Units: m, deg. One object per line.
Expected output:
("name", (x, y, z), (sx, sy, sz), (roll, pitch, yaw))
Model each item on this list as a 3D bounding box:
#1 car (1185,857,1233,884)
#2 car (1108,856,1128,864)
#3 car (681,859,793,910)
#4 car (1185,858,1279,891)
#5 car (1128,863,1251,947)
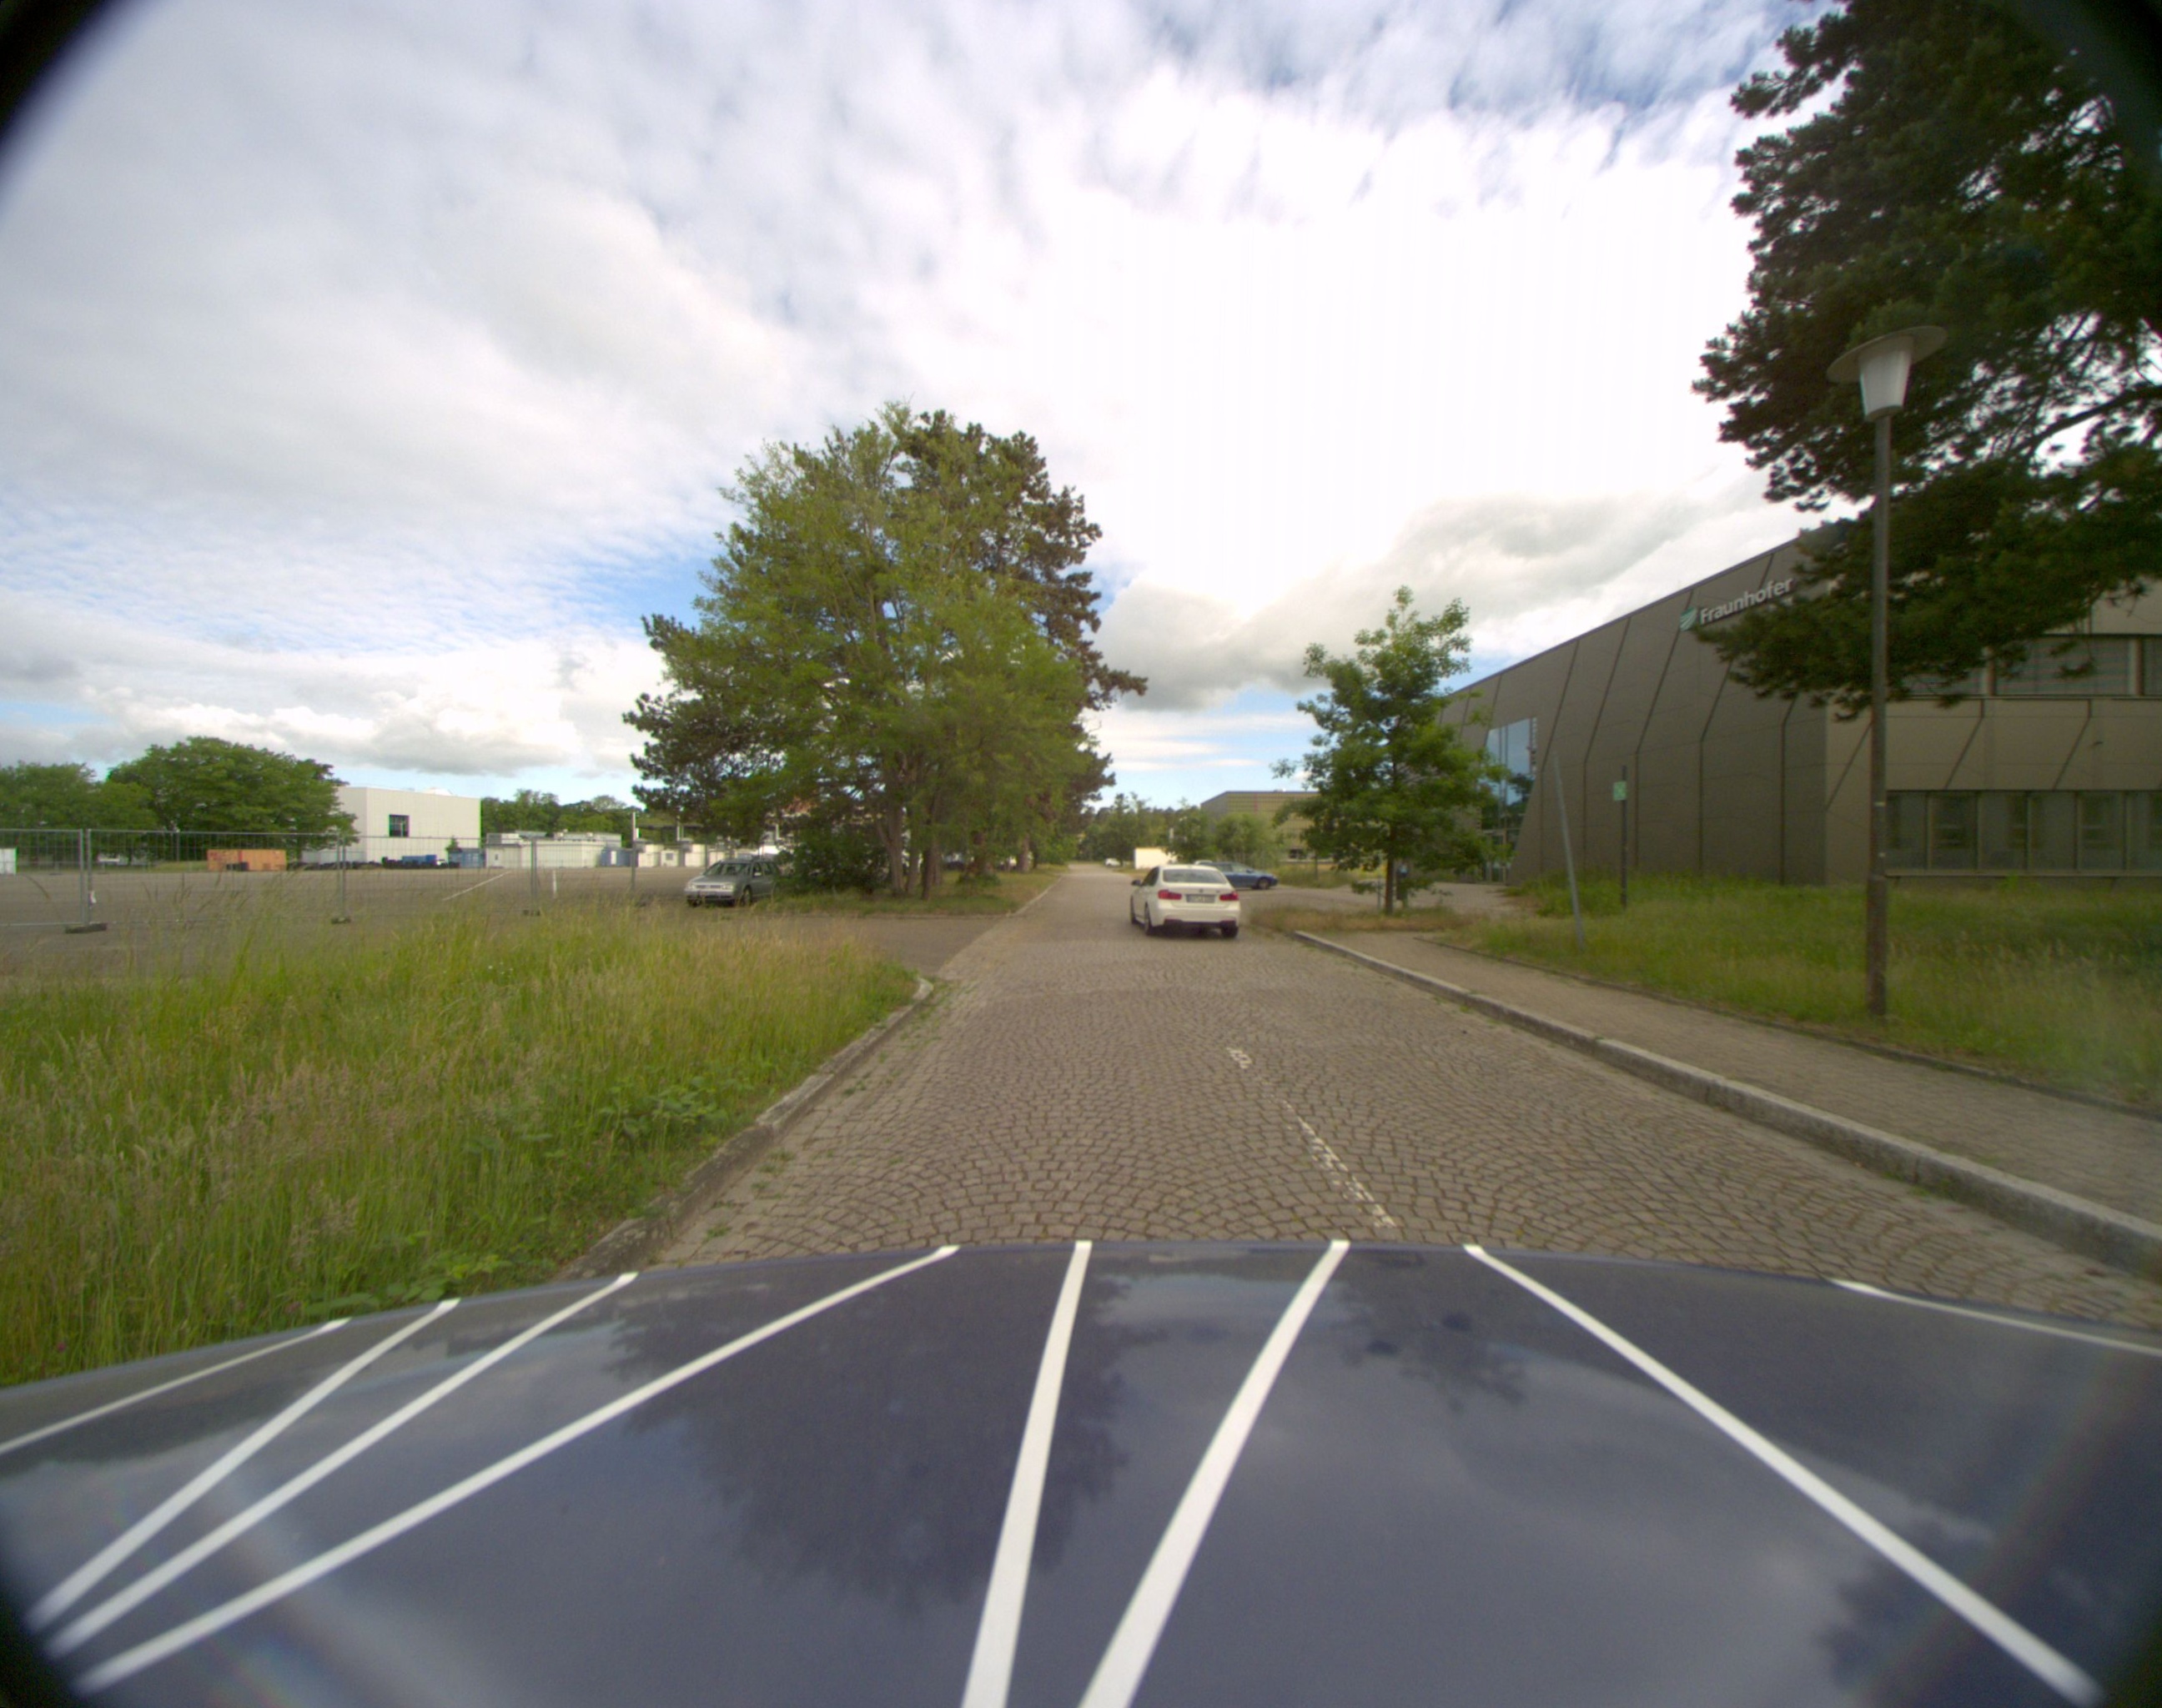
("car", (7.730, 0.984, 46.140), (2.584, 1.521, 1.500), (-2, 1, -2))
("car", (7.671, 1.238, 158.581), (4.062, 1.767, 1.792), (-1, 1, 0))
("car", (-10.872, 0.901, 24.402), (1.678, 1.442, 4.488), (0, 0, -2))
("car", (7.675, 1.042, 38.771), (4.427, 1.461, 1.633), (-2, 1, -2))
("car", (2.138, 0.970, 16.170), (1.778, 1.429, 4.217), (3, 0, -3))
